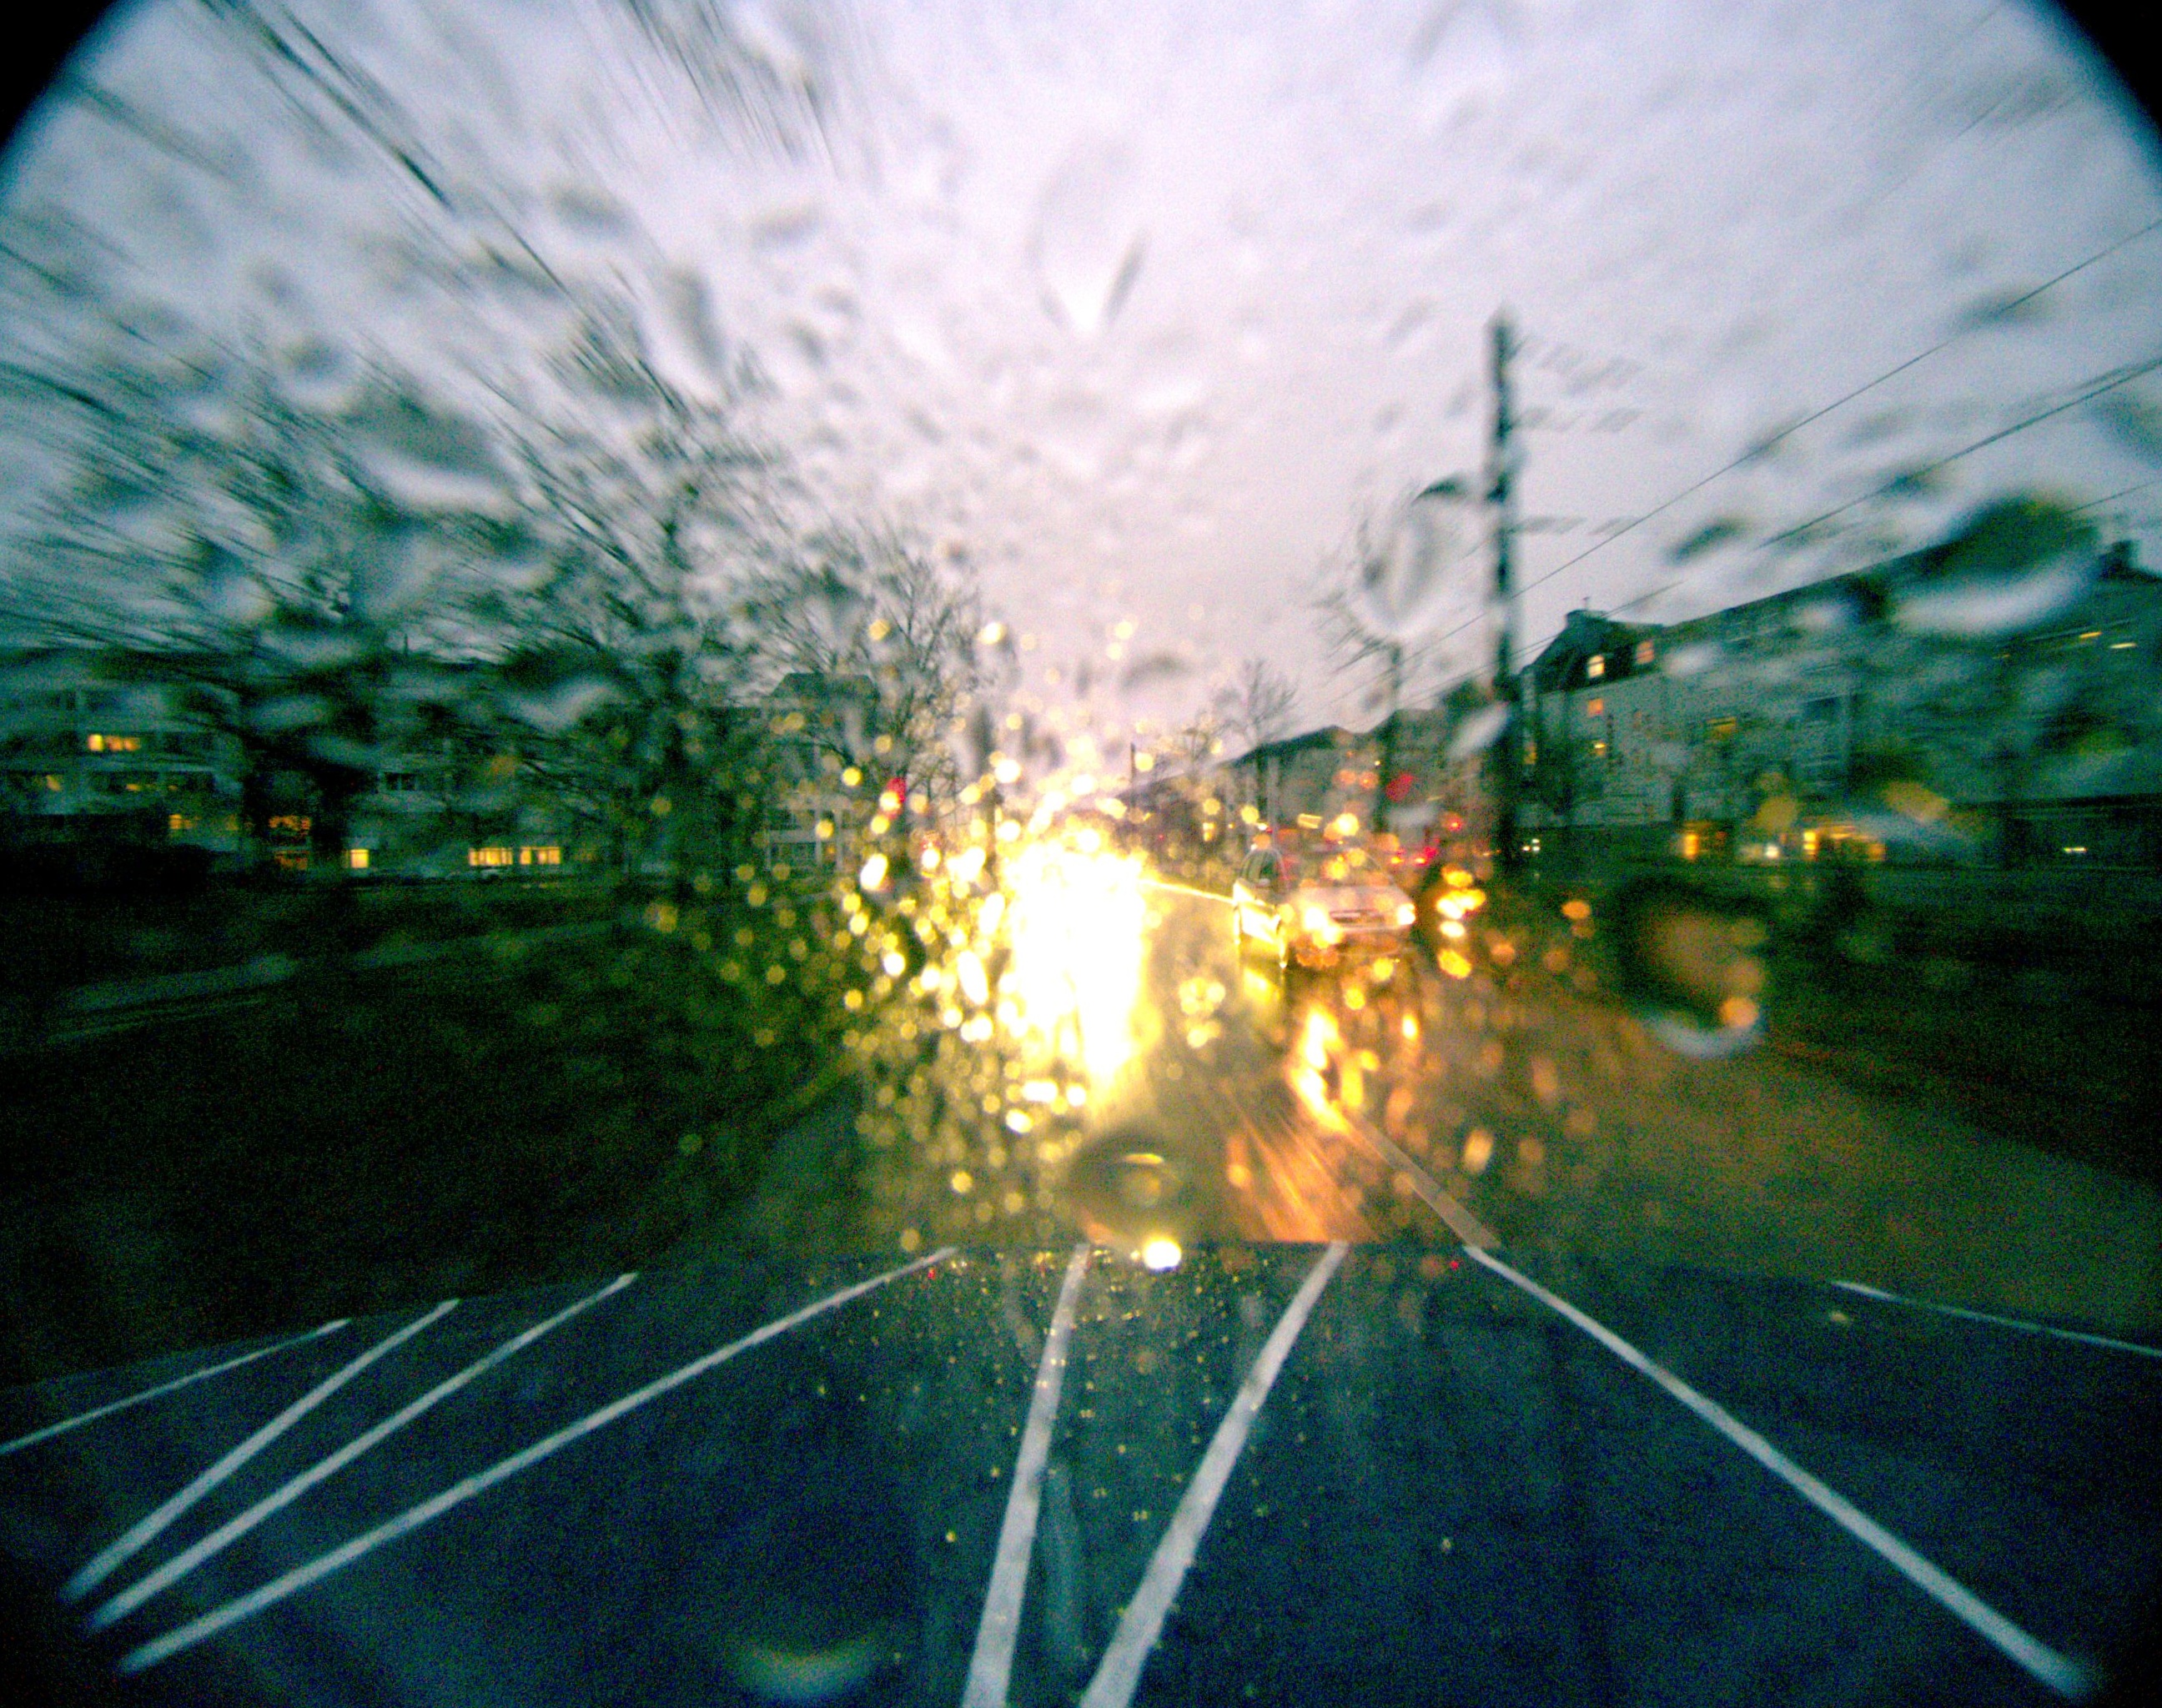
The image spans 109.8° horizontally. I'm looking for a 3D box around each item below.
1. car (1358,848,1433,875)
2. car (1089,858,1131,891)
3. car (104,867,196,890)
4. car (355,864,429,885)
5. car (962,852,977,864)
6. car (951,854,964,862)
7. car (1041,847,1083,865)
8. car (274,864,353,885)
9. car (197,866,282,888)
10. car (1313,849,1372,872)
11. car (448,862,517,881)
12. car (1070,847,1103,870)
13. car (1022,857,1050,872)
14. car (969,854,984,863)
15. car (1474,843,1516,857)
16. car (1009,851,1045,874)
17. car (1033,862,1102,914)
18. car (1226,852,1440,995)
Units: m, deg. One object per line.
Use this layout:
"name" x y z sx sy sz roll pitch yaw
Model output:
"car" 16.591 0.382 40.272 1.897 1.347 4.287 -1 0 -5
"car" 1.492 1.049 40.480 1.924 1.546 4.216 -3 0 -1
"car" -73.501 1.926 60.086 4.167 1.622 1.997 -1 0 -16
"car" -58.295 1.694 64.369 4.150 1.622 1.997 -1 0 -16
"car" -15.365 0.530 105.078 1.950 1.546 4.214 -3 0 -7
"car" -20.983 0.704 128.703 2.001 1.316 3.995 -1 0 -12
"car" -2.057 0.223 81.233 2.332 1.846 4.662 -1 0 -35
"car" -63.639 1.697 63.078 4.167 1.622 1.997 -1 0 -16
"car" -68.273 1.862 61.757 4.167 1.622 1.997 -1 0 -16
"car" 16.008 0.370 46.743 1.897 1.347 4.287 -1 0 -4
"car" -50.889 1.459 64.717 4.167 1.430 1.901 -1 0 -16
"car" 0.377 0.346 55.859 1.845 1.546 4.214 -3 0 -6
"car" -4.319 0.989 71.863 1.899 1.347 4.284 -1 0 -14
"car" -16.513 0.674 120.134 2.001 1.316 3.995 -1 0 -12
"car" 46.505 -0.487 85.376 3.899 1.467 1.777 -1 0 -7
"car" -4.039 0.614 56.014 1.951 1.546 4.212 -3 0 -12
"car" -0.406 0.977 23.281 1.897 1.347 4.288 -1 0 -1
"car" 3.244 0.782 10.596 1.669 1.566 3.922 -1 1 0
